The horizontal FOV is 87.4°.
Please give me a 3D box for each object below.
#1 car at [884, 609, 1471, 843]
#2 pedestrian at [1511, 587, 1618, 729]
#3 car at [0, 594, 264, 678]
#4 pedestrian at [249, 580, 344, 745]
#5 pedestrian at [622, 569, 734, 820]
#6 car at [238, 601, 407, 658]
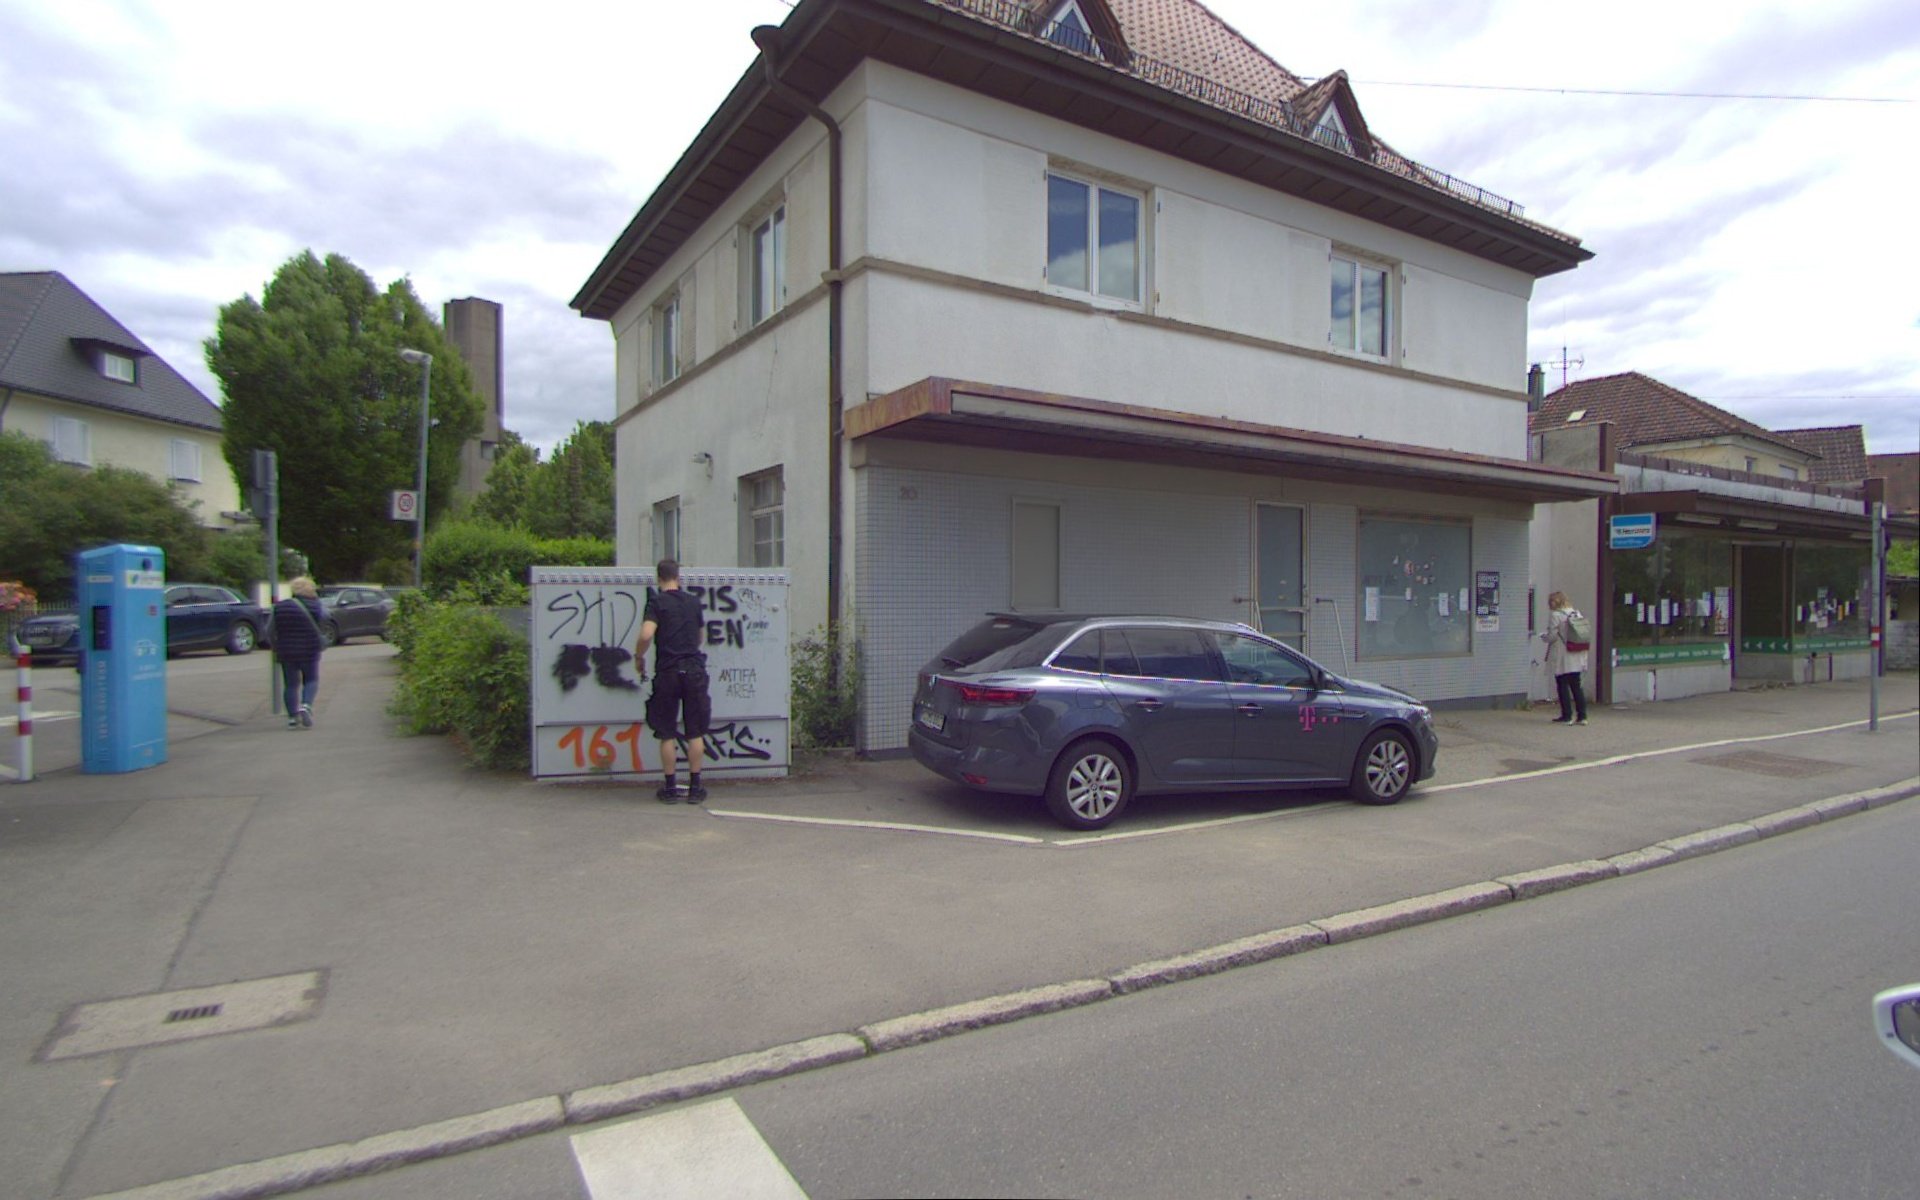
[{"bbox_3d":[1.775,0.854,8.217,4.459,1.461,1.776,1,2,-22],"label":"car"},{"bbox_3d":[8.010,0.734,13.313,0.954,1.774,0.876,1,1,-36],"label":"pedestrian"},{"bbox_3d":[-16.752,0.664,20.530,1.889,1.514,4.435,-1,0,1],"label":"car"},{"bbox_3d":[-6.871,0.614,10.442,0.705,1.638,0.696,0,1,-25],"label":"pedestrian"},{"bbox_3d":[-2.078,0.648,7.459,0.748,1.741,0.886,0,2,-15],"label":"pedestrian"},{"bbox_3d":[-16.550,0.710,26.325,1.701,1.361,3.980,-1,0,4],"label":"car"}]
